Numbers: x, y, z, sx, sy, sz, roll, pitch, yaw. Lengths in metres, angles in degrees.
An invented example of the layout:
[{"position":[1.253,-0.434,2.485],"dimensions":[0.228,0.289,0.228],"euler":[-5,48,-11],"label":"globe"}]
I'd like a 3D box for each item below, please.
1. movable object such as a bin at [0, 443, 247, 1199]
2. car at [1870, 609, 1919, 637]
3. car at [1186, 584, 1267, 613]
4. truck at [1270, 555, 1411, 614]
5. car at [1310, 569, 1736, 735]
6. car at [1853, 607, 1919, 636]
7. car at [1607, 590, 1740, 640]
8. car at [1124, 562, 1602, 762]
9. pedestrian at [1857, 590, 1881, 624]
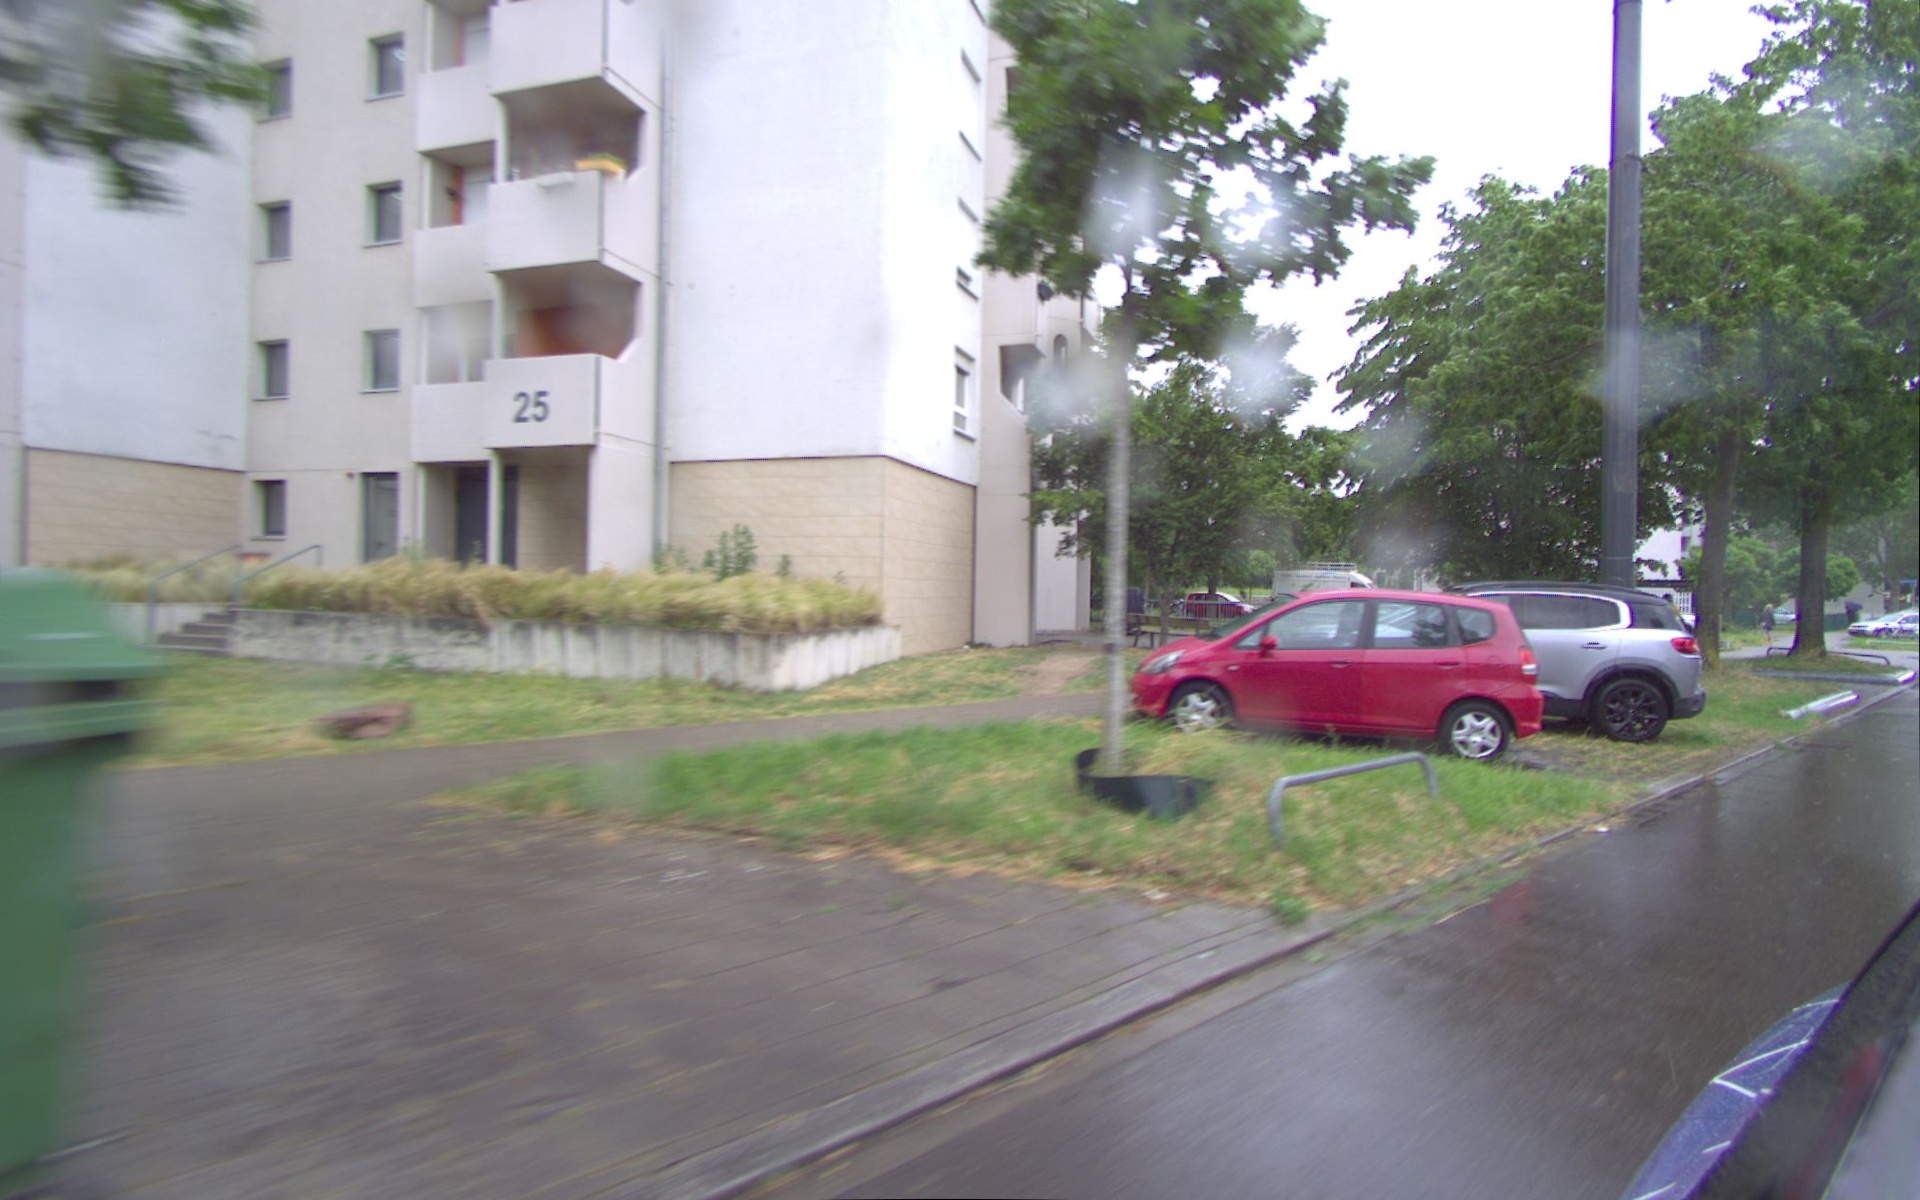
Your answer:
[{"position":[-2.323,0.517,1.797],"dimensions":[1.152,1.582,1.362],"euler":[0,0,27],"label":"movable object such as a bin"},{"position":[48.665,1.138,50.483],"dimensions":[4.426,1.344,1.986],"euler":[0,0,22],"label":"car"},{"position":[12.589,-0.084,47.781],"dimensions":[3.393,1.298,1.583],"euler":[0,0,32],"label":"car"},{"position":[16.958,-0.668,45.224],"dimensions":[5.633,2.469,2.100],"euler":[0,0,33],"label":"truck"},{"position":[6.280,0.513,11.796],"dimensions":[3.988,1.707,1.717],"euler":[1,0,15],"label":"car"},{"position":[46.325,1.028,48.783],"dimensions":[4.423,1.344,1.987],"euler":[0,0,20],"label":"car"},{"position":[26.570,0.536,37.871],"dimensions":[3.972,1.775,1.976],"euler":[0,0,34],"label":"car"},{"position":[3.745,0.506,10.031],"dimensions":[3.989,1.507,1.717],"euler":[4,1,15],"label":"car"},{"position":[55.515,0.405,61.788],"dimensions":[1.140,2.039,1.012],"euler":[0,0,-43],"label":"pedestrian"}]
